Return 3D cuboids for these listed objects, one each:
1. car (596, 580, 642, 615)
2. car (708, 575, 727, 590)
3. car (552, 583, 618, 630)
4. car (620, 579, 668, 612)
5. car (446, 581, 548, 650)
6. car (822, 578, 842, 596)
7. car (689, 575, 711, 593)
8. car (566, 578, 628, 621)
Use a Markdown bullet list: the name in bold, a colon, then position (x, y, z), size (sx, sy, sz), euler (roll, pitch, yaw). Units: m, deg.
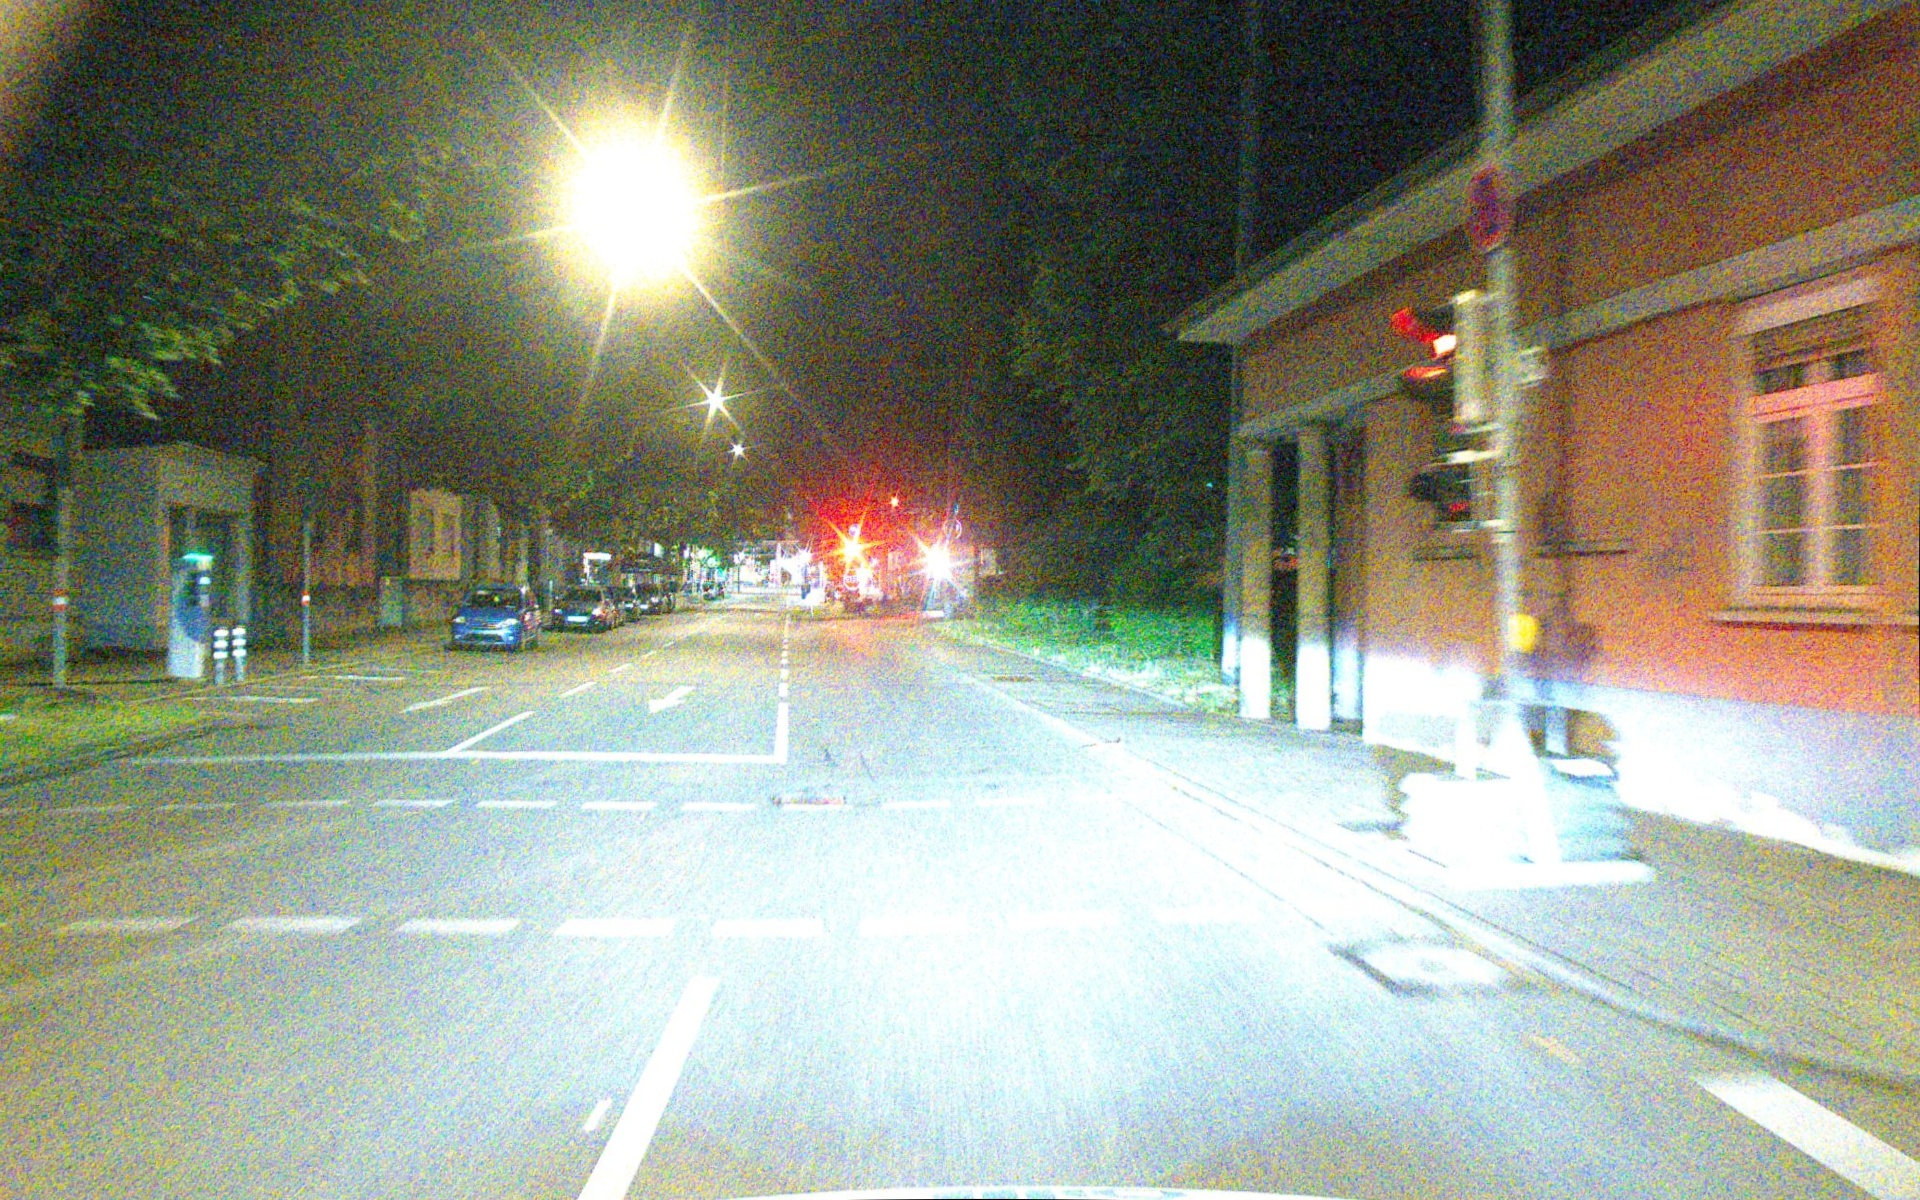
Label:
- **car**: position (-14.092, -0.121, 68.503), size (1.592, 1.407, 4.443), euler (0, 1, -9)
- **car**: position (-23.944, -1.728, 163.349), size (1.619, 1.456, 3.995), euler (0, 1, -6)
- **car**: position (-12.484, 0.184, 55.256), size (1.735, 1.511, 4.759), euler (0, 1, -8)
- **car**: position (-15.544, -0.262, 81.567), size (1.863, 1.497, 4.447), euler (2, 1, -6)
- **car**: position (-10.865, 0.333, 39.063), size (1.681, 1.520, 3.984), euler (1, 1, -7)
- **car**: position (-10.884, -1.099, 140.729), size (1.619, 1.456, 3.996), euler (0, 1, -5)
- **car**: position (-21.520, -1.296, 136.854), size (1.619, 1.456, 3.995), euler (0, 1, -6)
- **car**: position (-13.177, -0.041, 60.224), size (1.734, 1.511, 4.856), euler (0, 1, -7)
